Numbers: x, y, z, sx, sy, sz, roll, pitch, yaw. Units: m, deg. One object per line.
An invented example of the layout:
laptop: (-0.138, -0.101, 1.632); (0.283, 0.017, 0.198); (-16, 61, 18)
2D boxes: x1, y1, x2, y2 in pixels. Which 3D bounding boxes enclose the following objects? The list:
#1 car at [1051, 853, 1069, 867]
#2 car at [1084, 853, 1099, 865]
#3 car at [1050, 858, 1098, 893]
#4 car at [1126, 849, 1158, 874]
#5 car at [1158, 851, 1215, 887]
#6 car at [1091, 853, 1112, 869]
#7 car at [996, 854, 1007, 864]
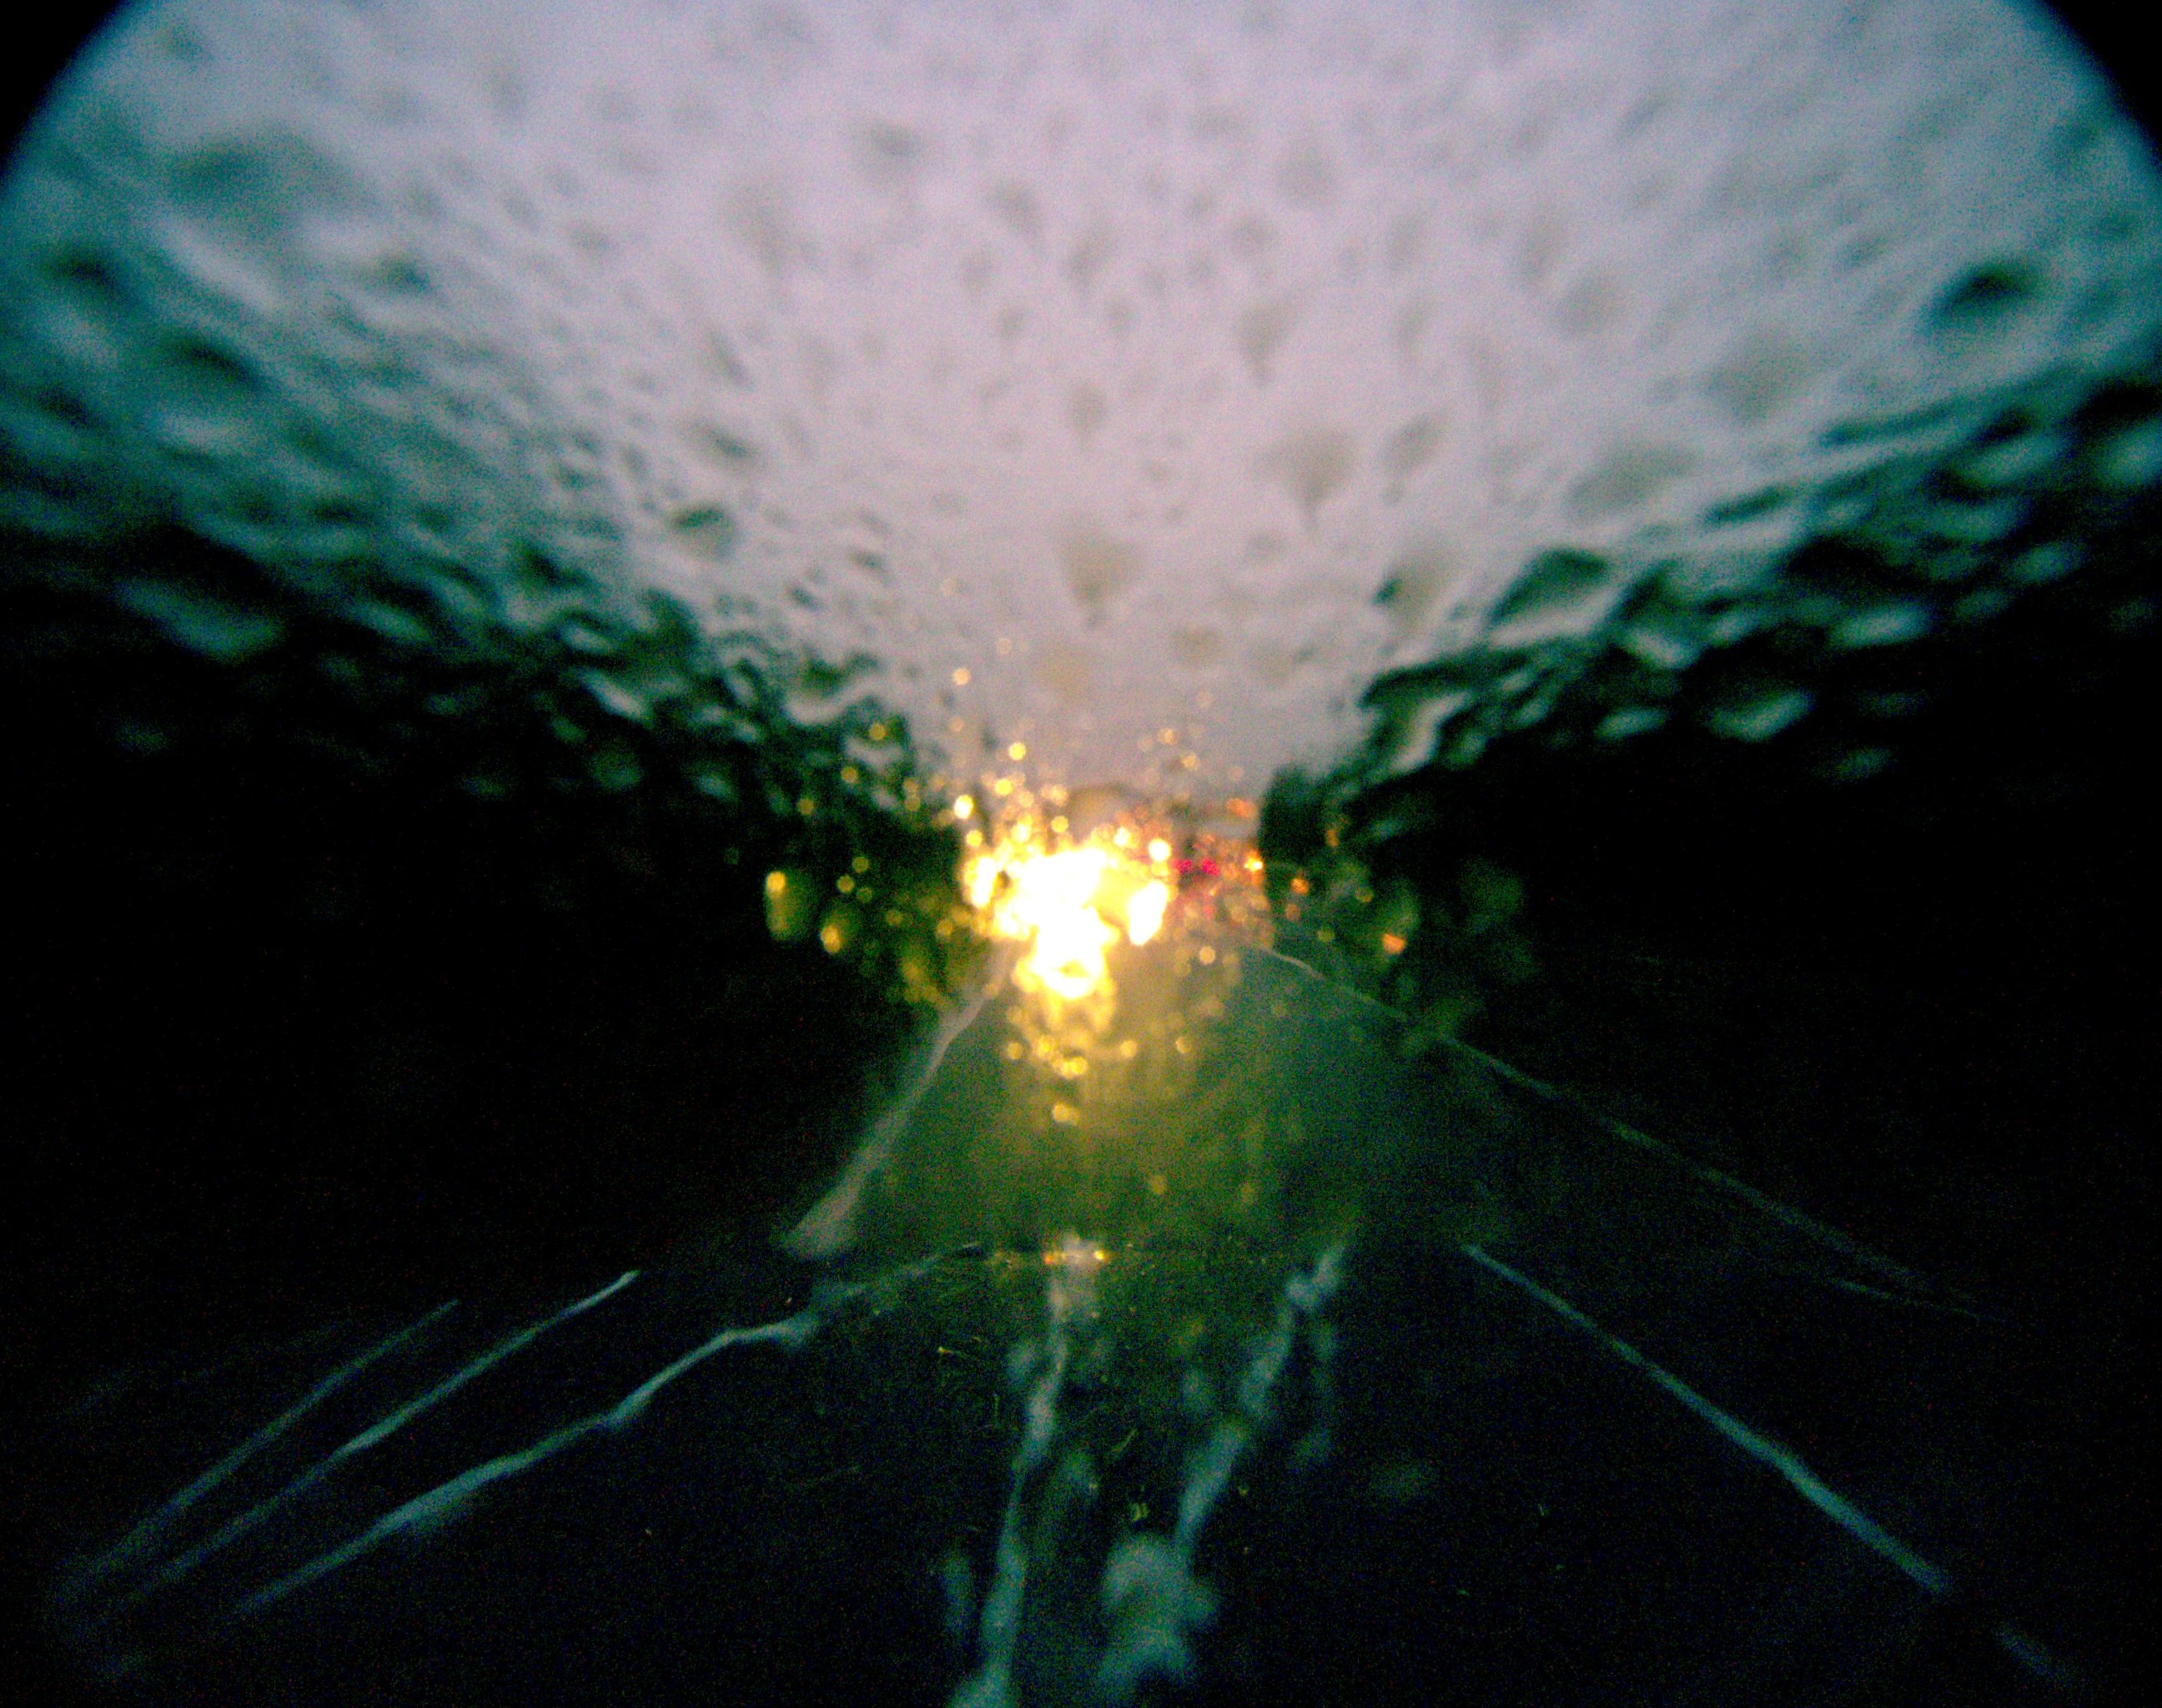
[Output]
car: (-2.681, 0.684, 95.110); (1.718, 1.617, 4.214); (-2, 1, -9)
car: (1.349, 0.658, 100.726); (1.828, 1.515, 4.298); (-3, 0, -1)
car: (-0.385, 0.923, 34.719); (1.851, 1.429, 4.243); (-3, 0, -4)
car: (4.467, 0.531, 55.907); (1.865, 1.638, 4.466); (-2, 1, -1)
car: (4.735, 0.641, 34.550); (1.809, 1.445, 4.378); (-2, 0, -2)
car: (2.221, 0.747, 82.891); (1.907, 1.638, 4.726); (-2, 0, -2)
car: (-14.973, 0.912, 143.265); (1.703, 1.721, 3.996); (-3, 2, -8)
